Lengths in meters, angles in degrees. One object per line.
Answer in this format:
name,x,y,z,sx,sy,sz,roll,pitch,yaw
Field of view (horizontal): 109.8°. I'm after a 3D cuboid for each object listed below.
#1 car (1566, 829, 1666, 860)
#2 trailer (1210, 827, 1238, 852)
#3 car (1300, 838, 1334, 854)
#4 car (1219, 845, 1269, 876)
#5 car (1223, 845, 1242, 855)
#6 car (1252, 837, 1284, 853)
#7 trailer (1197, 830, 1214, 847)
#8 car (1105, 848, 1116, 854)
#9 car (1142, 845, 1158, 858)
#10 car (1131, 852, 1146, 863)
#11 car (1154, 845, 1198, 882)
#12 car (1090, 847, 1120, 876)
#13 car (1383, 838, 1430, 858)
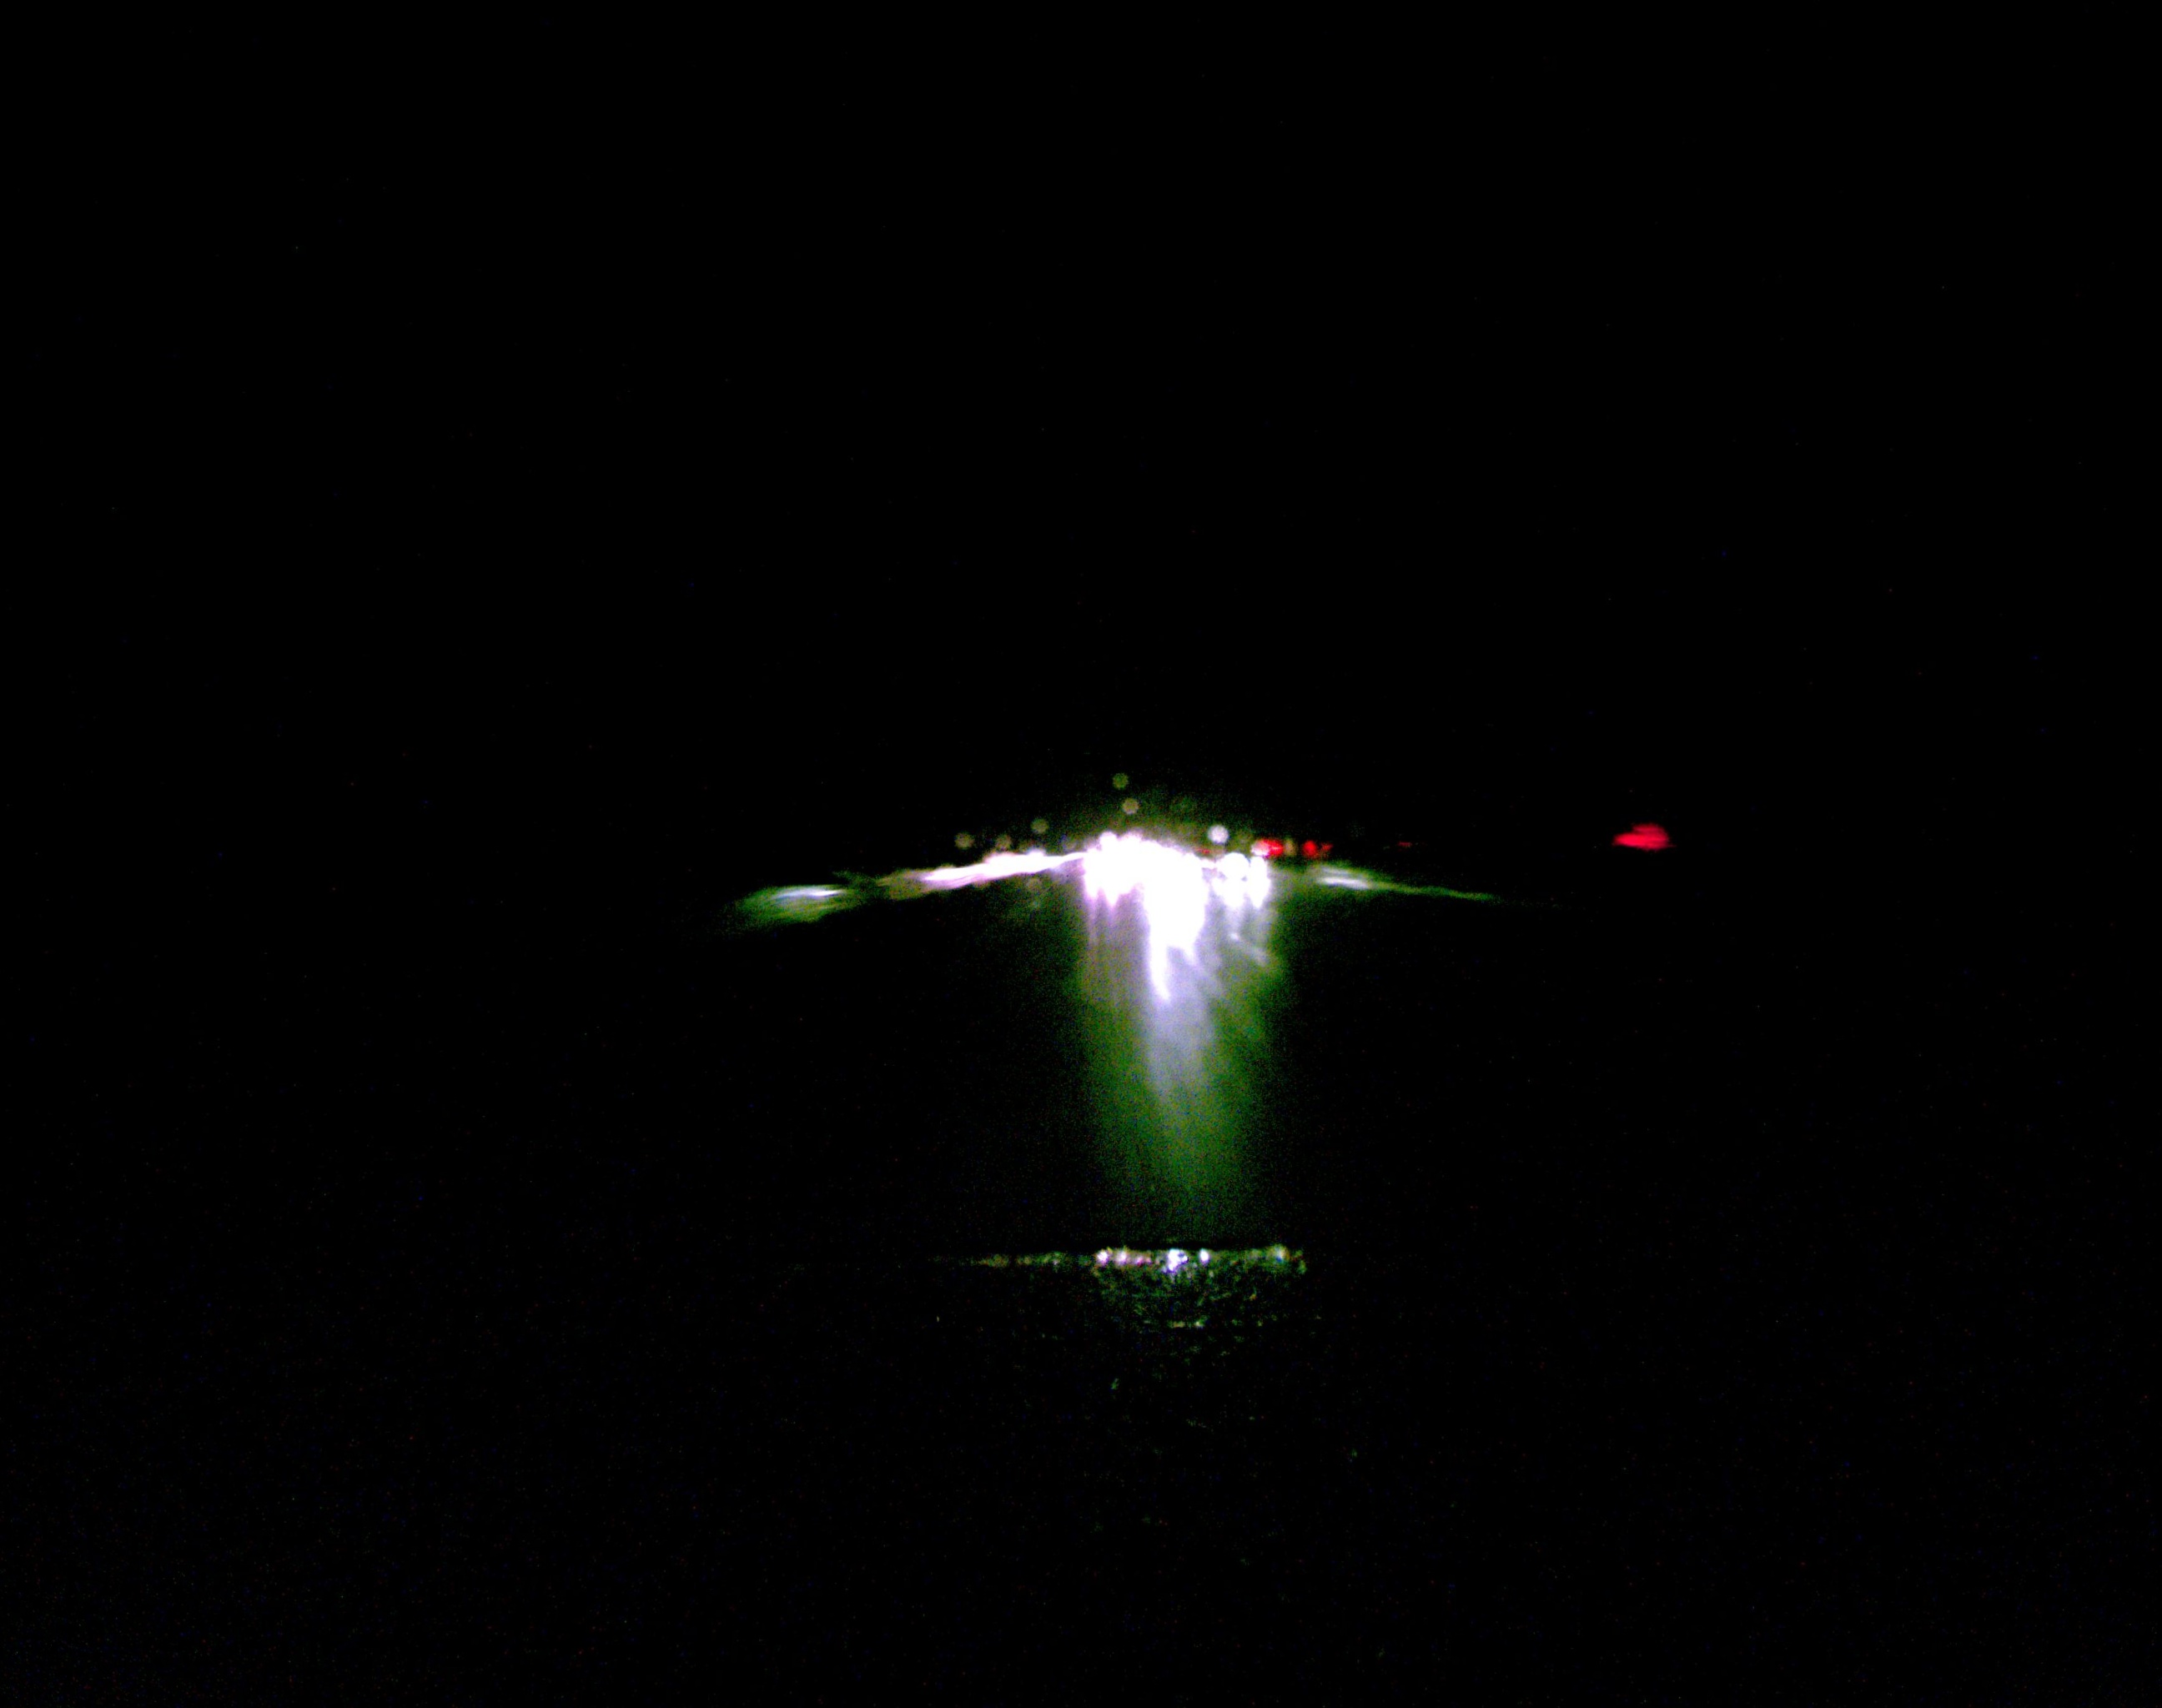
car,28.929,-0.521,41.323,1.791,1.456,5.038,-4,1,0
trailer,32.628,-3.194,173.244,4.350,5.111,8.996,-6,0,1
car,22.153,-0.760,71.469,1.977,1.456,3.999,-2,1,0
car,9.161,0.340,43.045,2.309,1.600,3.872,-2,1,6
car,23.886,-0.630,119.994,1.976,1.456,4.898,-4,1,1
car,18.123,-0.845,73.803,1.977,1.456,3.999,-2,1,0
trailer,41.652,-5.067,254.959,4.177,5.413,13.748,-2,1,3
car,6.386,-0.548,162.369,1.997,1.149,4.001,-2,1,6
car,10.159,-0.416,112.611,1.998,1.745,3.999,-4,1,1
car,7.010,0.386,92.707,1.692,1.149,3.421,-2,1,4
car,4.751,0.441,38.291,1.997,1.667,4.001,-2,1,6
car,1.860,0.545,56.852,1.998,2.002,4.000,-2,1,4
car,25.931,-0.466,60.657,1.965,1.456,3.999,-4,1,0
